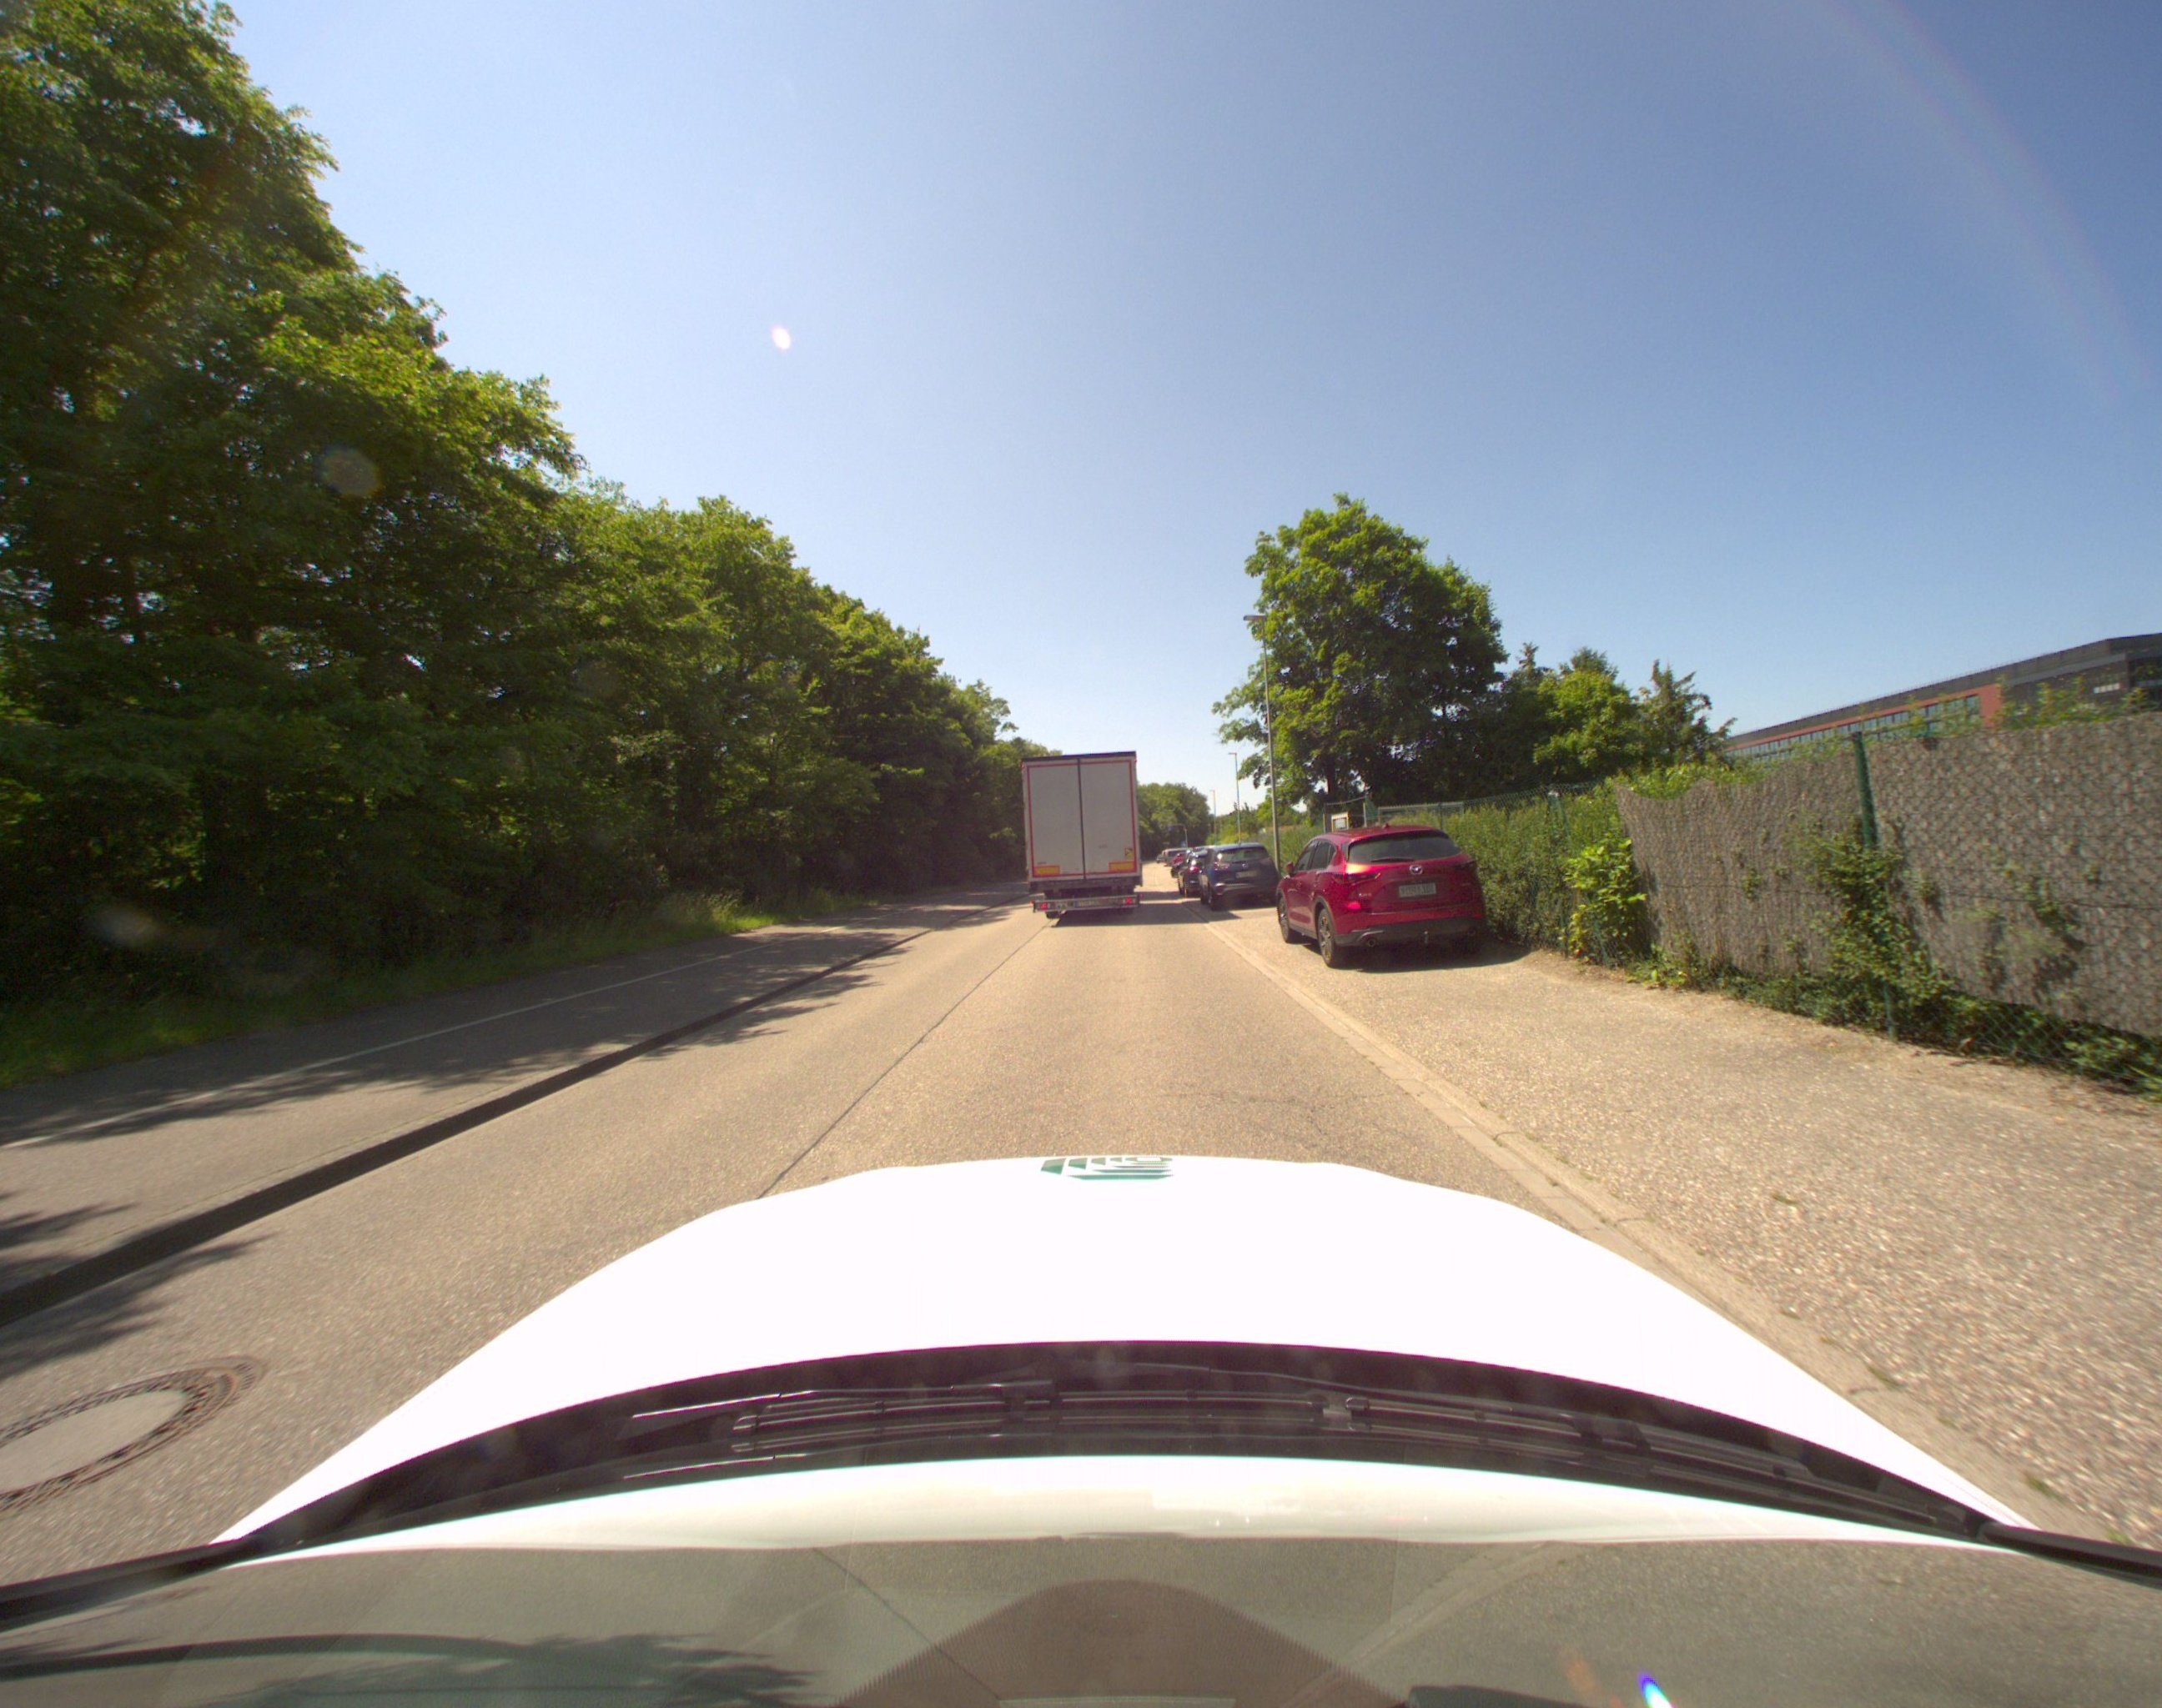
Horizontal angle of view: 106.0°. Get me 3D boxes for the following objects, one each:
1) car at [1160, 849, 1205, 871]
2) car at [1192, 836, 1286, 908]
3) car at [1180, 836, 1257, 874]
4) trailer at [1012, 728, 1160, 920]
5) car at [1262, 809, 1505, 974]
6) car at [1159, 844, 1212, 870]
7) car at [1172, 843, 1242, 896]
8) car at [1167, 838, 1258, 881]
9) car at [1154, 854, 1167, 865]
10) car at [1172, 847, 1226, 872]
[{"bbox_3d":[8.839,0.534,71.058,3.564,1.502,1.842,-6,0,0],"label":"car"},{"bbox_3d":[4.063,0.425,21.556,1.782,1.603,4.132,-4,0,3],"label":"car"},{"bbox_3d":[8.076,0.058,48.163,4.236,1.698,1.857,-6,0,6],"label":"car"},{"bbox_3d":[0.253,-0.650,23.680,3.101,4.102,11.539,-2,0,1],"label":"trailer"},{"bbox_3d":[3.861,0.424,11.315,1.782,1.658,4.456,-6,0,3],"label":"car"},{"bbox_3d":[9.519,0.256,74.261,4.597,1.848,1.999,-6,0,6],"label":"car"},{"bbox_3d":[4.203,0.484,27.930,1.782,1.481,4.668,-6,0,3],"label":"car"},{"bbox_3d":[6.886,0.277,43.043,4.452,1.704,1.915,-6,0,2],"label":"car"},{"bbox_3d":[12.345,0.859,125.848,1.770,1.486,4.010,-2,0,8],"label":"car"},{"bbox_3d":[9.049,0.402,62.513,3.900,1.478,1.848,-6,0,5],"label":"car"}]
